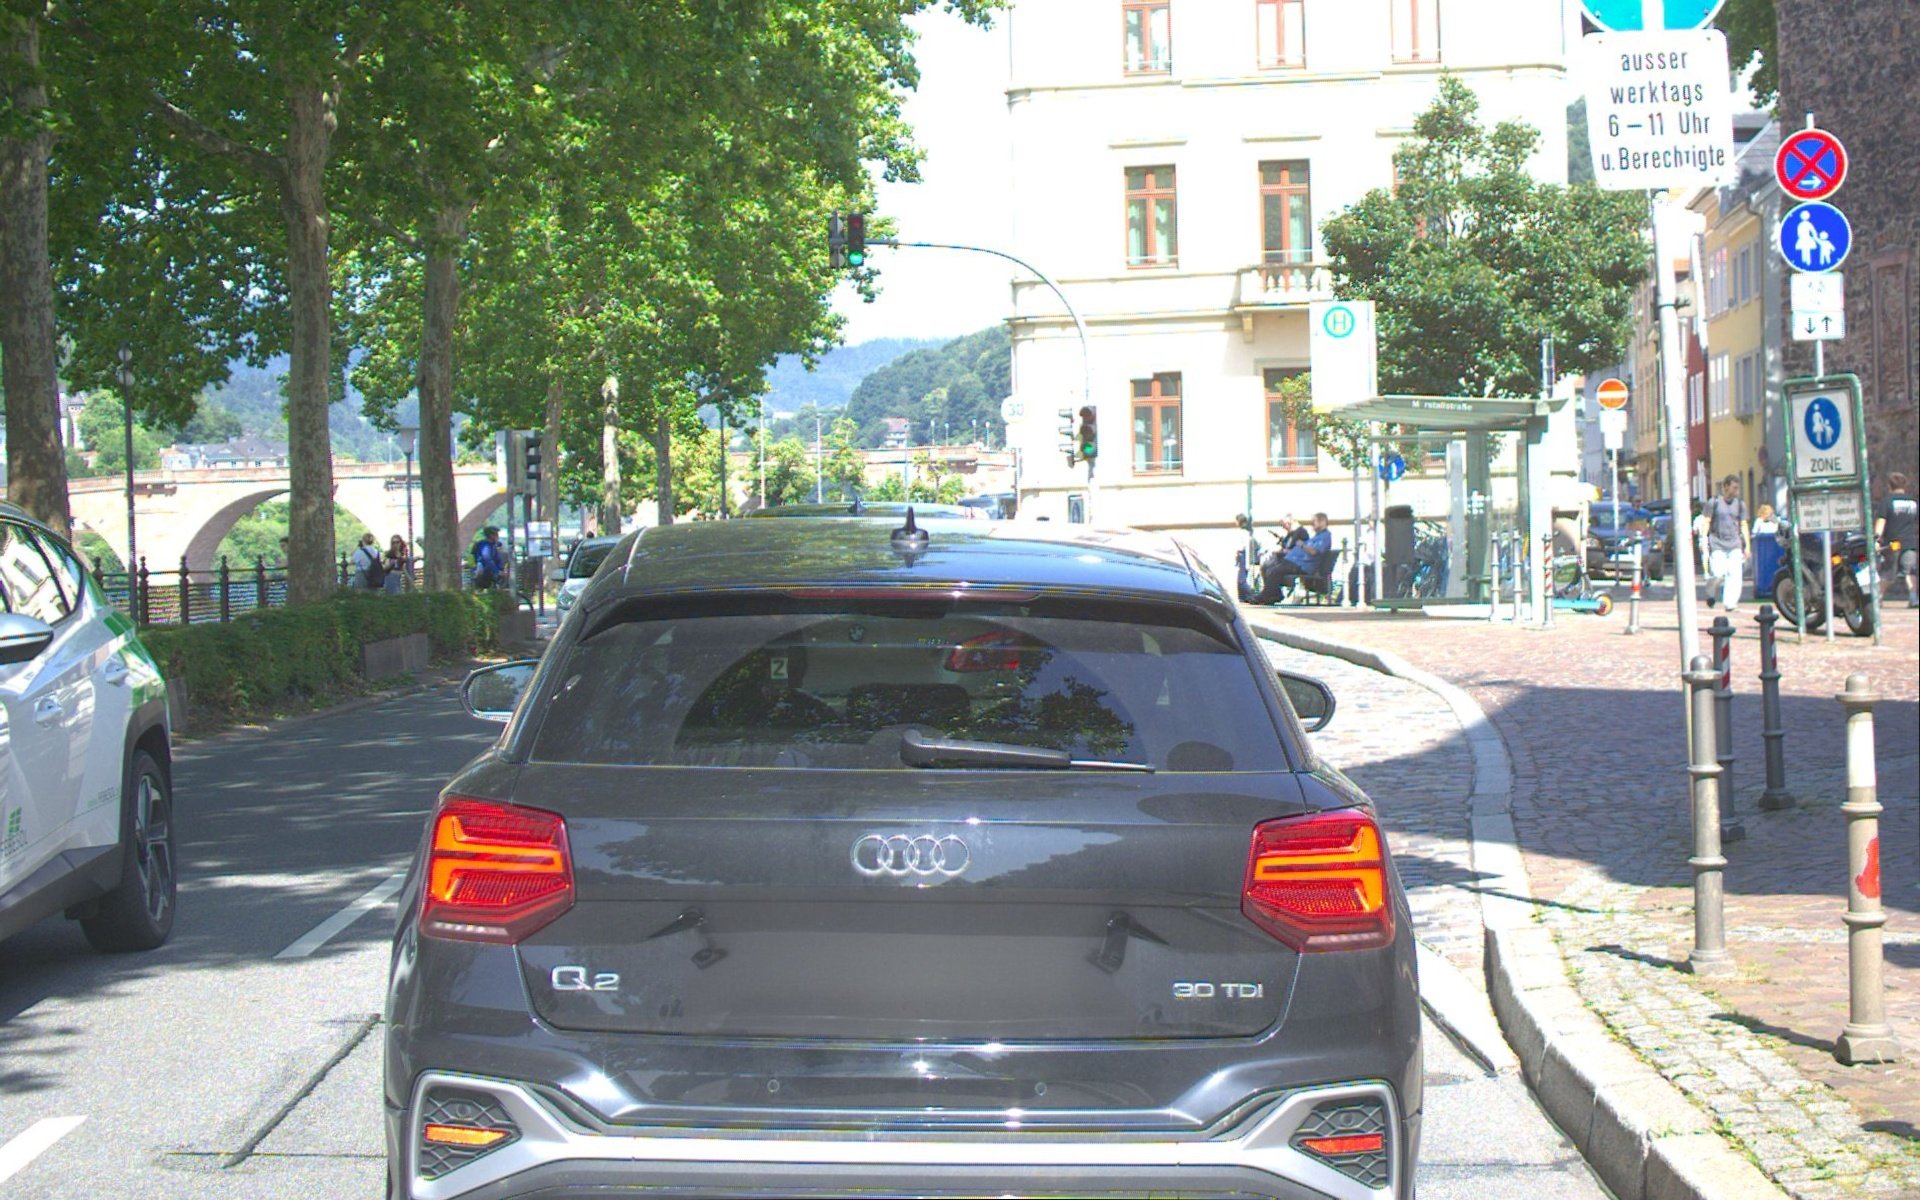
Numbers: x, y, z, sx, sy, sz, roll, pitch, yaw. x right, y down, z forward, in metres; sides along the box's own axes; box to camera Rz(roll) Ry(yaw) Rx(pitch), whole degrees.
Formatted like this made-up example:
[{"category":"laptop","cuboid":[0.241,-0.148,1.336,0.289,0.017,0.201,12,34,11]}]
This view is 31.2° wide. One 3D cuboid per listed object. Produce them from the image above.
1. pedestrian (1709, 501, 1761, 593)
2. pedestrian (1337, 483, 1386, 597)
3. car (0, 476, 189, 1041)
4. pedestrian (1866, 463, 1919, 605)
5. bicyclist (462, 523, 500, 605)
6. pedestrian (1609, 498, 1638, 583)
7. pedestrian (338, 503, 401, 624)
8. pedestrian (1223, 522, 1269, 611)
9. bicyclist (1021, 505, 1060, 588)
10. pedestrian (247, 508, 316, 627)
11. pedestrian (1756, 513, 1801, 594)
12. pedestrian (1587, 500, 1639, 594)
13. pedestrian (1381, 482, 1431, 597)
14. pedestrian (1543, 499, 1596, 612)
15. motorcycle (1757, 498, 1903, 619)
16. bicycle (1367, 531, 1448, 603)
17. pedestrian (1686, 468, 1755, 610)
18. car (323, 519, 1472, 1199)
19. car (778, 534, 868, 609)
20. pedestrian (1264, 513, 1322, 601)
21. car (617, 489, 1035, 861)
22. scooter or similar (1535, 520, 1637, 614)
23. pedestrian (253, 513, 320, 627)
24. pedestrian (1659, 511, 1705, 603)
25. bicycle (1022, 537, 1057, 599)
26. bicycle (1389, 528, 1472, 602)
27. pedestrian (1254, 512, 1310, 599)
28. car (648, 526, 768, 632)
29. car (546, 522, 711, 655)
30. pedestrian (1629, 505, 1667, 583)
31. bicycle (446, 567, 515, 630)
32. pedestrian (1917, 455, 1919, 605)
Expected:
[{"category":"pedestrian","cuboid":[17.032,-1.156,75.594,0.940,2.007,0.807,1,0,0]},{"category":"pedestrian","cuboid":[7.166,-1.066,61.308,0.640,2.007,0.664,1,0,29]},{"category":"car","cuboid":[-3.747,0.511,10.632,1.769,1.654,4.000,-4,1,-1]},{"category":"pedestrian","cuboid":[12.028,-0.847,43.938,0.652,1.796,0.847,0,1,-1]},{"category":"bicyclist","cuboid":[-7.769,-0.582,55.806,0.566,1.307,0.552,1,0,-5]},{"category":"pedestrian","cuboid":[13.084,-1.175,67.764,0.449,1.675,0.466,1,0,-1]},{"category":"pedestrian","cuboid":[-9.931,-0.616,57.857,0.911,2.007,0.585,1,0,4]},{"category":"pedestrian","cuboid":[4.898,-0.574,58.980,0.693,1.495,0.514,1,0,-4]},{"category":"bicyclist","cuboid":[1.418,-0.940,60.704,0.605,1.445,0.591,1,0,-5]},{"category":"pedestrian","cuboid":[-10.606,-0.508,53.736,0.911,1.838,0.585,1,0,4]},{"category":"pedestrian","cuboid":[16.670,-0.945,70.000,0.692,1.606,0.890,-1,2,24]},{"category":"pedestrian","cuboid":[14.064,-1.143,74.049,0.944,2.007,0.807,1,0,0]},{"category":"pedestrian","cuboid":[7.885,-1.067,60.767,0.640,2.007,0.664,1,0,29]},{"category":"pedestrian","cuboid":[7.556,-0.549,42.627,0.557,1.380,0.588,1,0,2]},{"category":"motorcycle","cuboid":[7.593,-0.377,30.115,0.566,1.009,2.490,-1,1,-2]},{"category":"bicycle","cuboid":[6.454,-0.473,49.598,1.184,1.012,0.179,1,0,-19]},{"category":"pedestrian","cuboid":[10.203,-0.817,46.147,0.747,1.884,0.752,1,0,2]},{"category":"car","cuboid":[-0.121,0.601,7.090,1.743,1.504,3.647,1,1,-1]},{"category":"car","cuboid":[-3.387,-0.713,85.682,1.993,1.800,4.000,1,0,1]},{"category":"pedestrian","cuboid":[4.662,-0.602,48.149,0.663,1.207,0.641,1,0,-6]},{"category":"car","cuboid":[-0.603,0.292,16.620,1.793,1.589,3.399,1,1,-1]},{"category":"scooter or similar","cuboid":[7.161,-0.379,39.356,1.088,1.062,0.323,1,0,-2]},{"category":"pedestrian","cuboid":[-10.752,-0.472,54.886,0.911,1.805,0.585,1,0,4]},{"category":"pedestrian","cuboid":[15.864,-0.940,75.557,0.839,2.007,0.738,1,0,0]},{"category":"bicycle","cuboid":[1.394,-0.566,60.633,0.437,1.082,1.677,1,0,-5]},{"category":"bicycle","cuboid":[6.702,-0.493,48.967,1.201,1.031,0.179,1,0,-19]},{"category":"pedestrian","cuboid":[4.574,-0.635,48.907,0.663,1.227,0.641,1,0,-6]},{"category":"car","cuboid":[-4.730,-0.432,65.077,1.813,1.719,4.422,-6,1,0]},{"category":"car","cuboid":[-4.398,-0.194,46.111,1.738,1.566,4.092,-4,1,0]},{"category":"pedestrian","cuboid":[13.560,-1.105,67.754,0.622,1.526,0.466,1,0,-1]},{"category":"bicycle","cuboid":[-7.791,-0.028,55.834,1.093,1.003,0.304,0,0,-7]},{"category":"pedestrian","cuboid":[12.360,-0.866,42.694,0.668,1.877,0.821,1,0,-2]}]
